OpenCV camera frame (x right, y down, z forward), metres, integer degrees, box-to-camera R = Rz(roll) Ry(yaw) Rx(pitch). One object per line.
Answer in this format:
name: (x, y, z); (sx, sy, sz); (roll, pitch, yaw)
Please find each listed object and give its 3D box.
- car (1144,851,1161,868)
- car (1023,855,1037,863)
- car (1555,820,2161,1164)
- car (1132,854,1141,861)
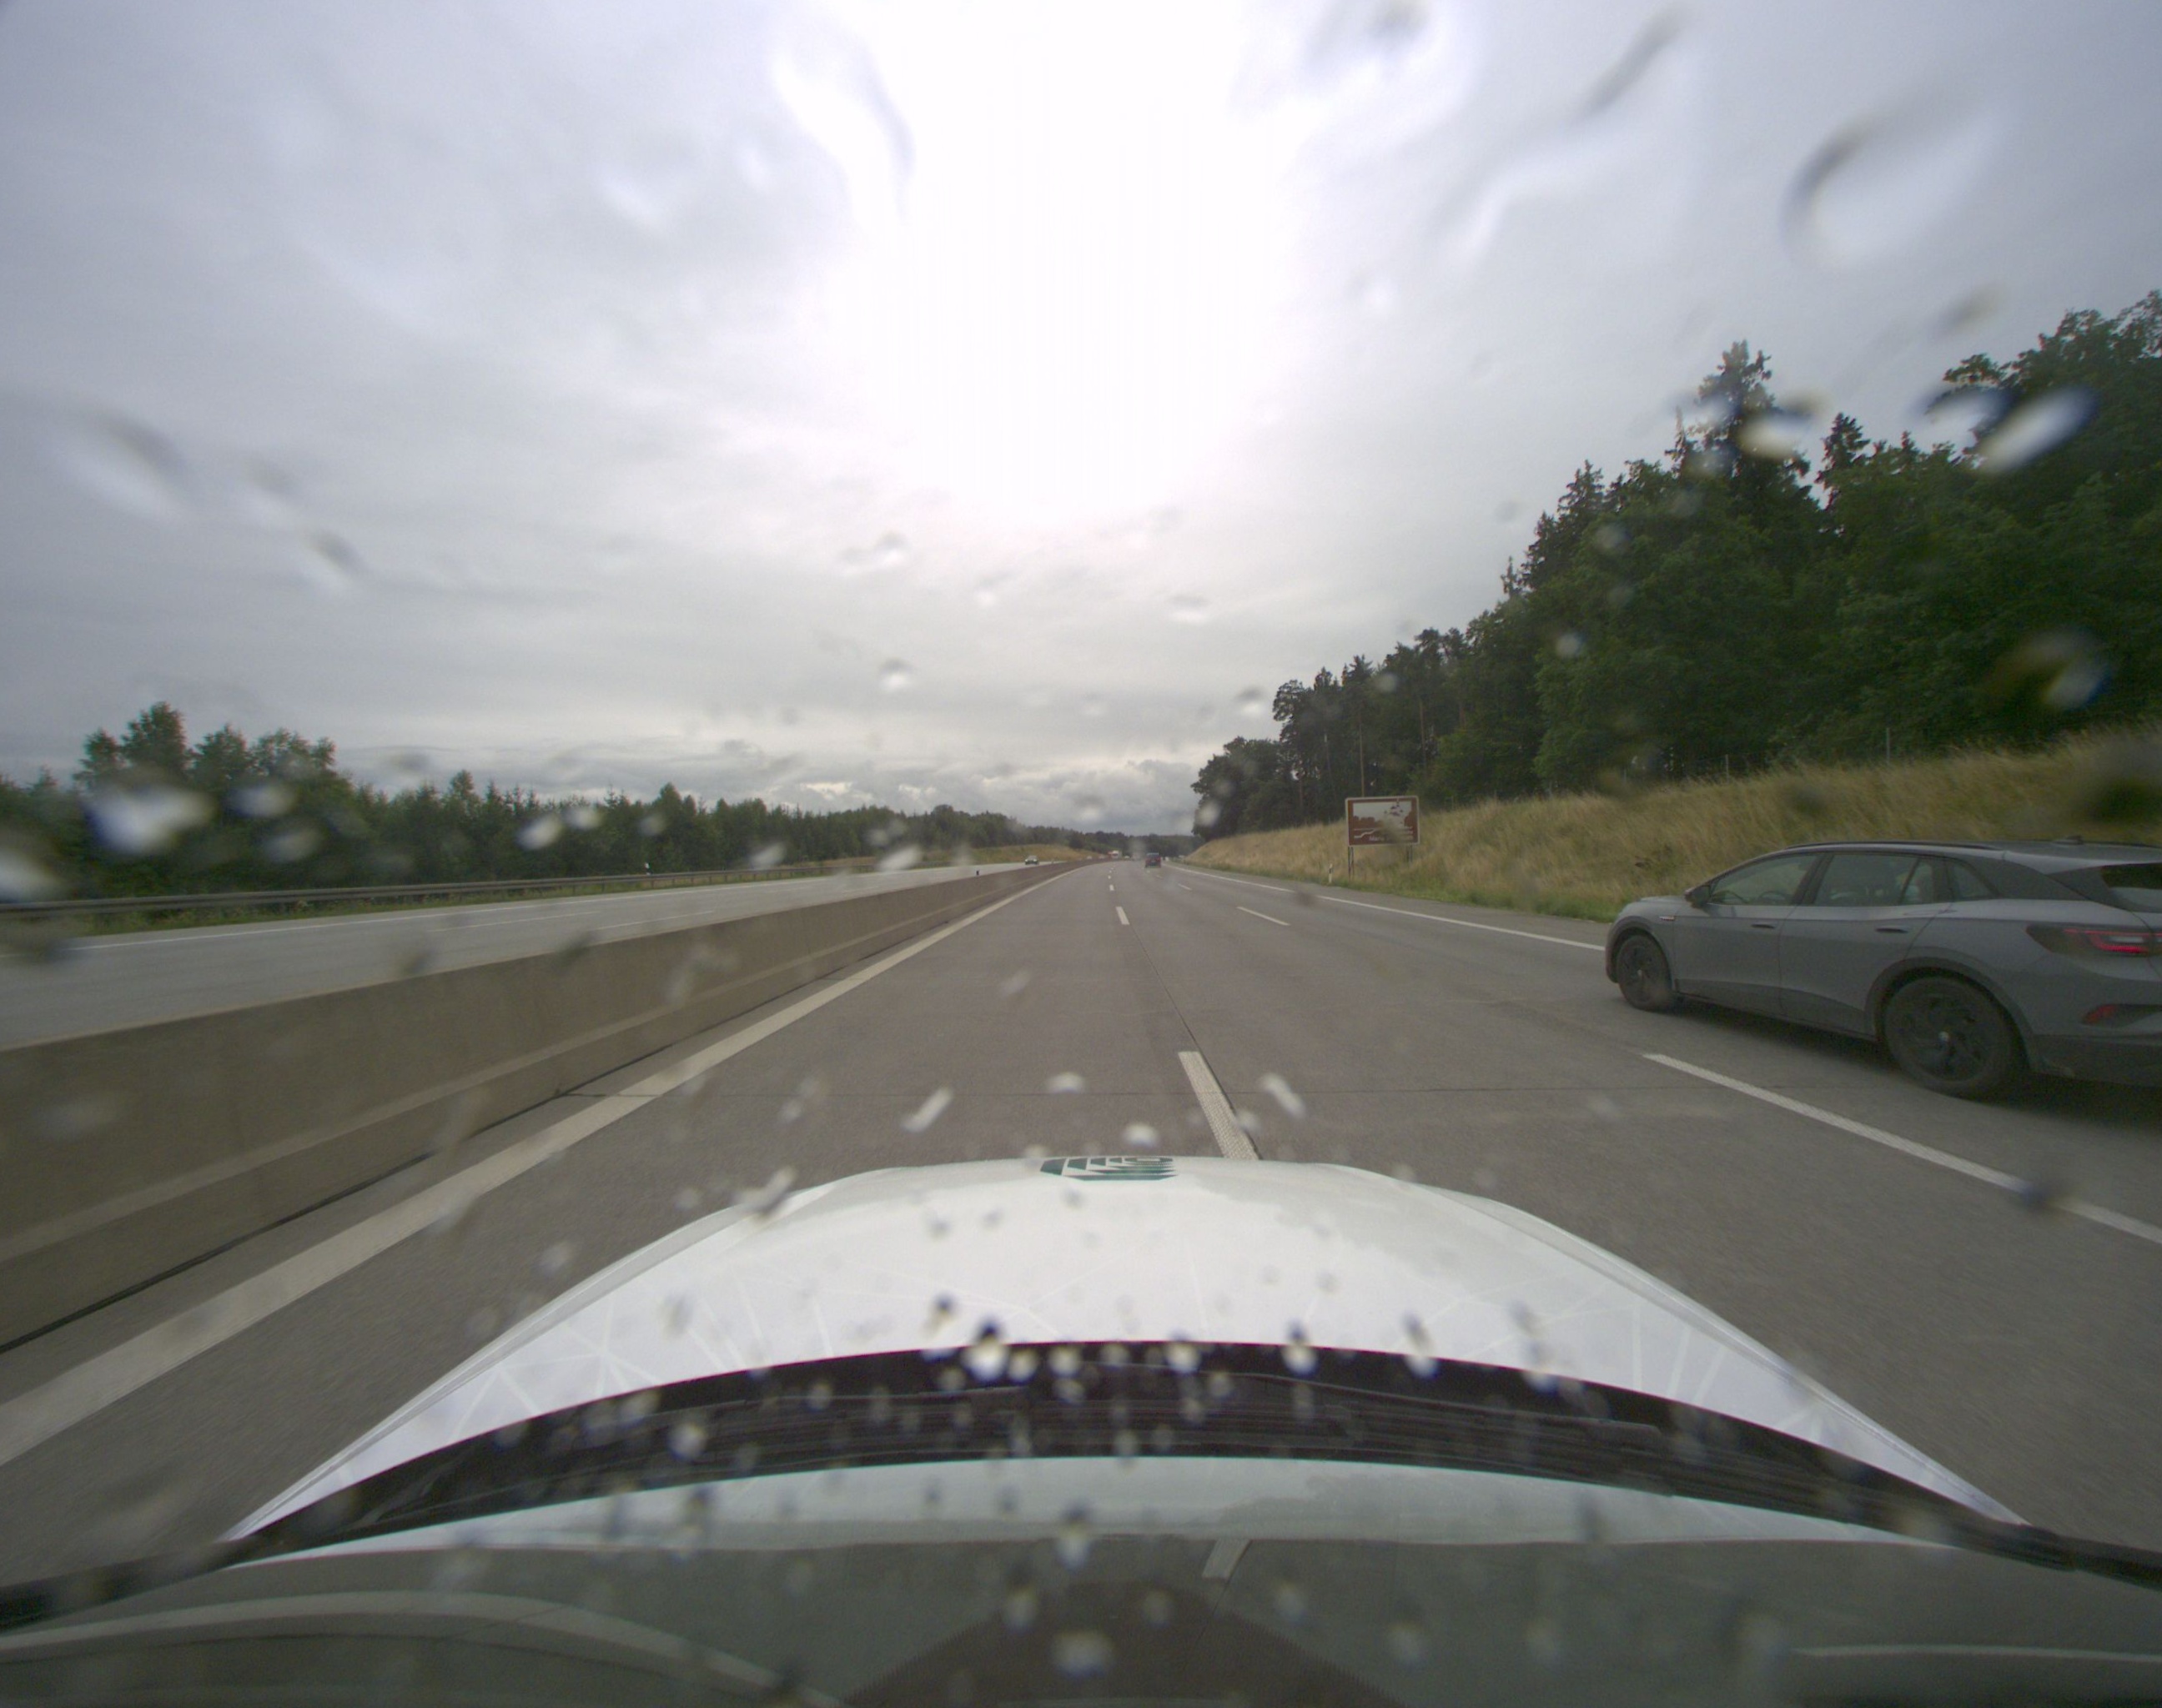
car: (8.442, 0.668, 96.396); (1.777, 1.746, 3.919); (-4, 1, 4)
car: (-8.084, 0.776, 129.795); (1.761, 1.232, 3.956); (0, 1, 2)
car: (6.279, 0.631, 6.615); (1.891, 1.689, 5.267); (0, 1, 1)
car: (13.012, 0.823, 192.032); (1.834, 1.500, 4.002); (-4, 1, 2)
